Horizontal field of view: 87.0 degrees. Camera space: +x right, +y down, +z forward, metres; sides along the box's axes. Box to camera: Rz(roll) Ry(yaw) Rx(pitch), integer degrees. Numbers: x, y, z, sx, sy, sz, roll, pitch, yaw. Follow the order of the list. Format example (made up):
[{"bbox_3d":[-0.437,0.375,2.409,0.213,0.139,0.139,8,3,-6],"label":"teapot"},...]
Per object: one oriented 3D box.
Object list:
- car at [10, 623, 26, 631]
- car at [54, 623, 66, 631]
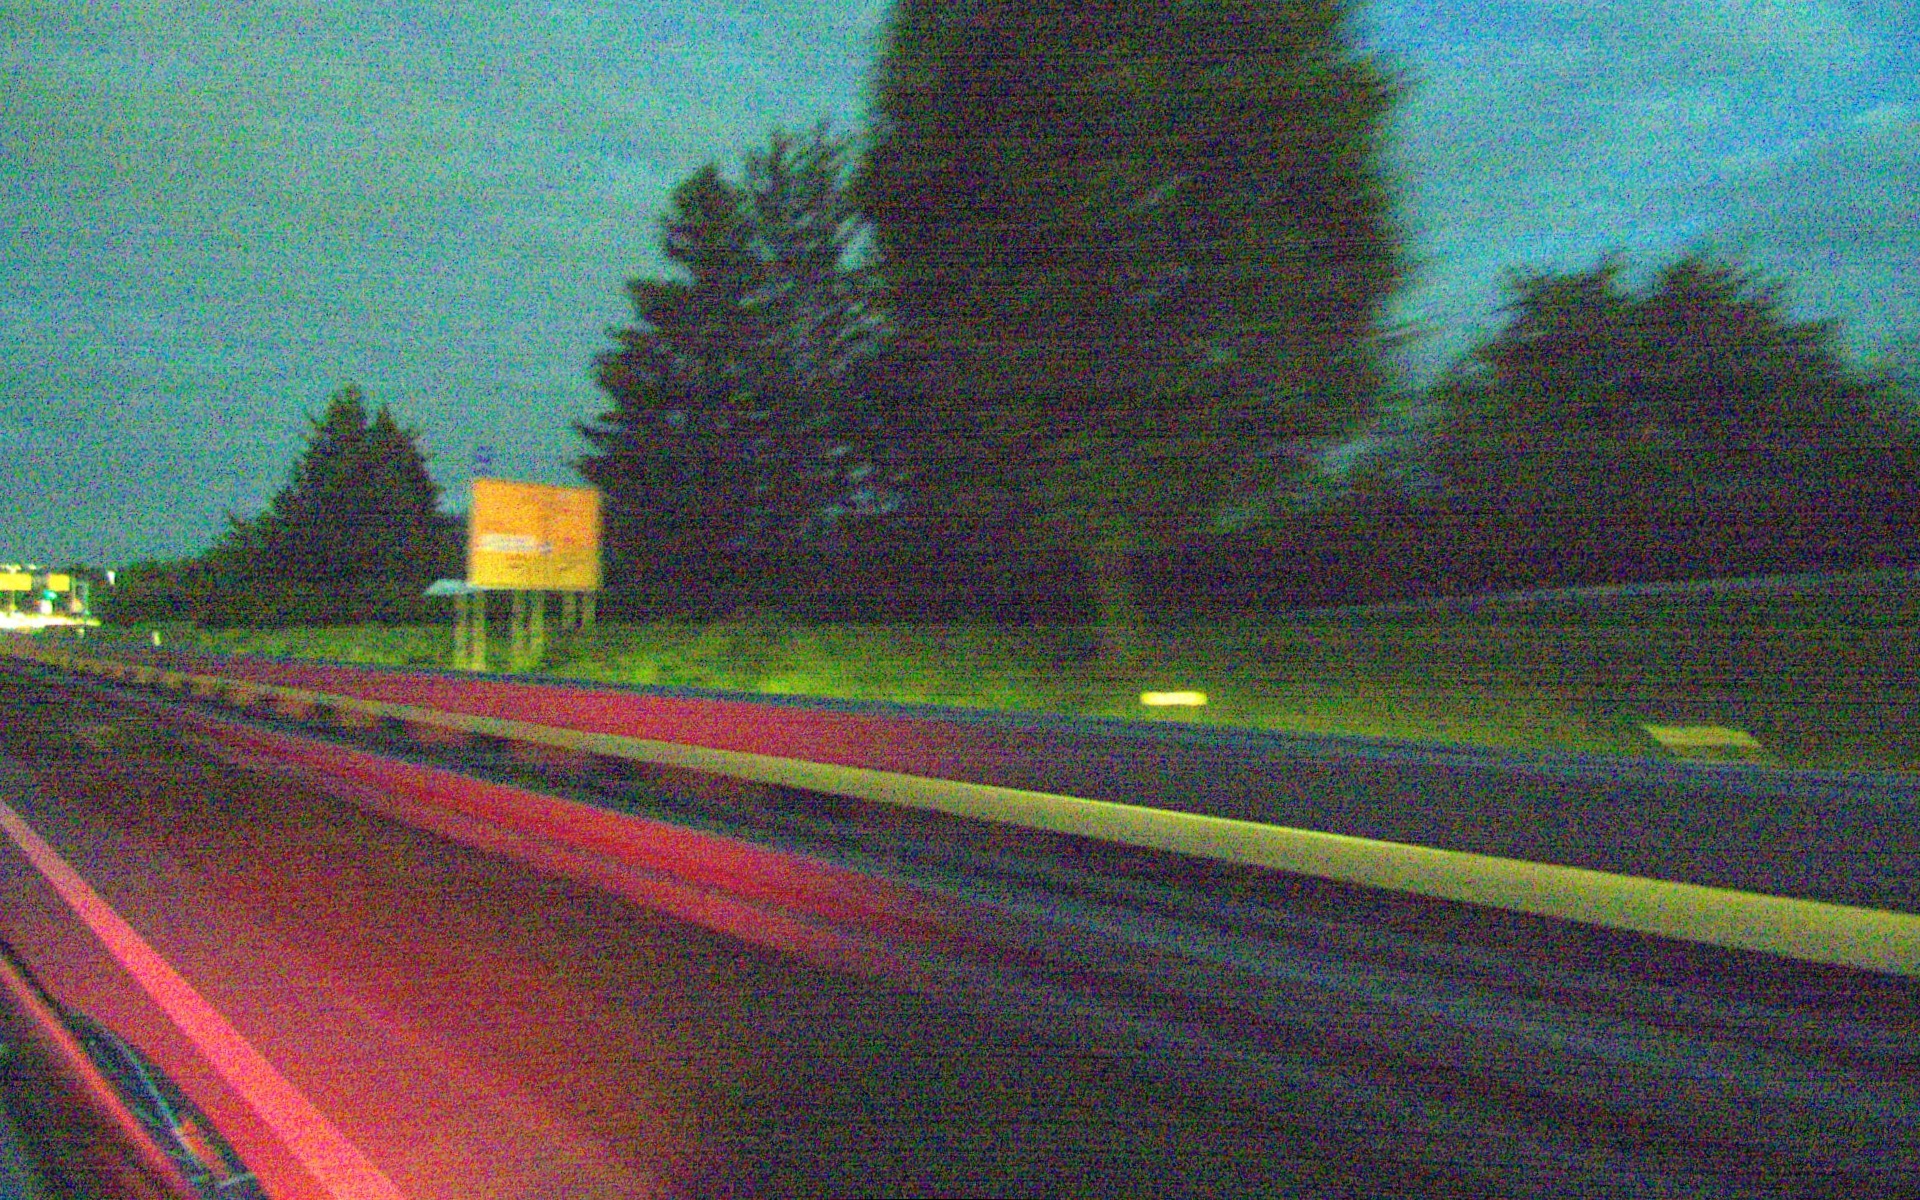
[{"bbox_3d":[-166.141,4.743,178.481,1.698,1.458,4.389,0,0,-39],"label":"car"},{"bbox_3d":[-176.144,5.220,198.072,1.632,1.487,4.007,0,0,-39],"label":"car"}]
